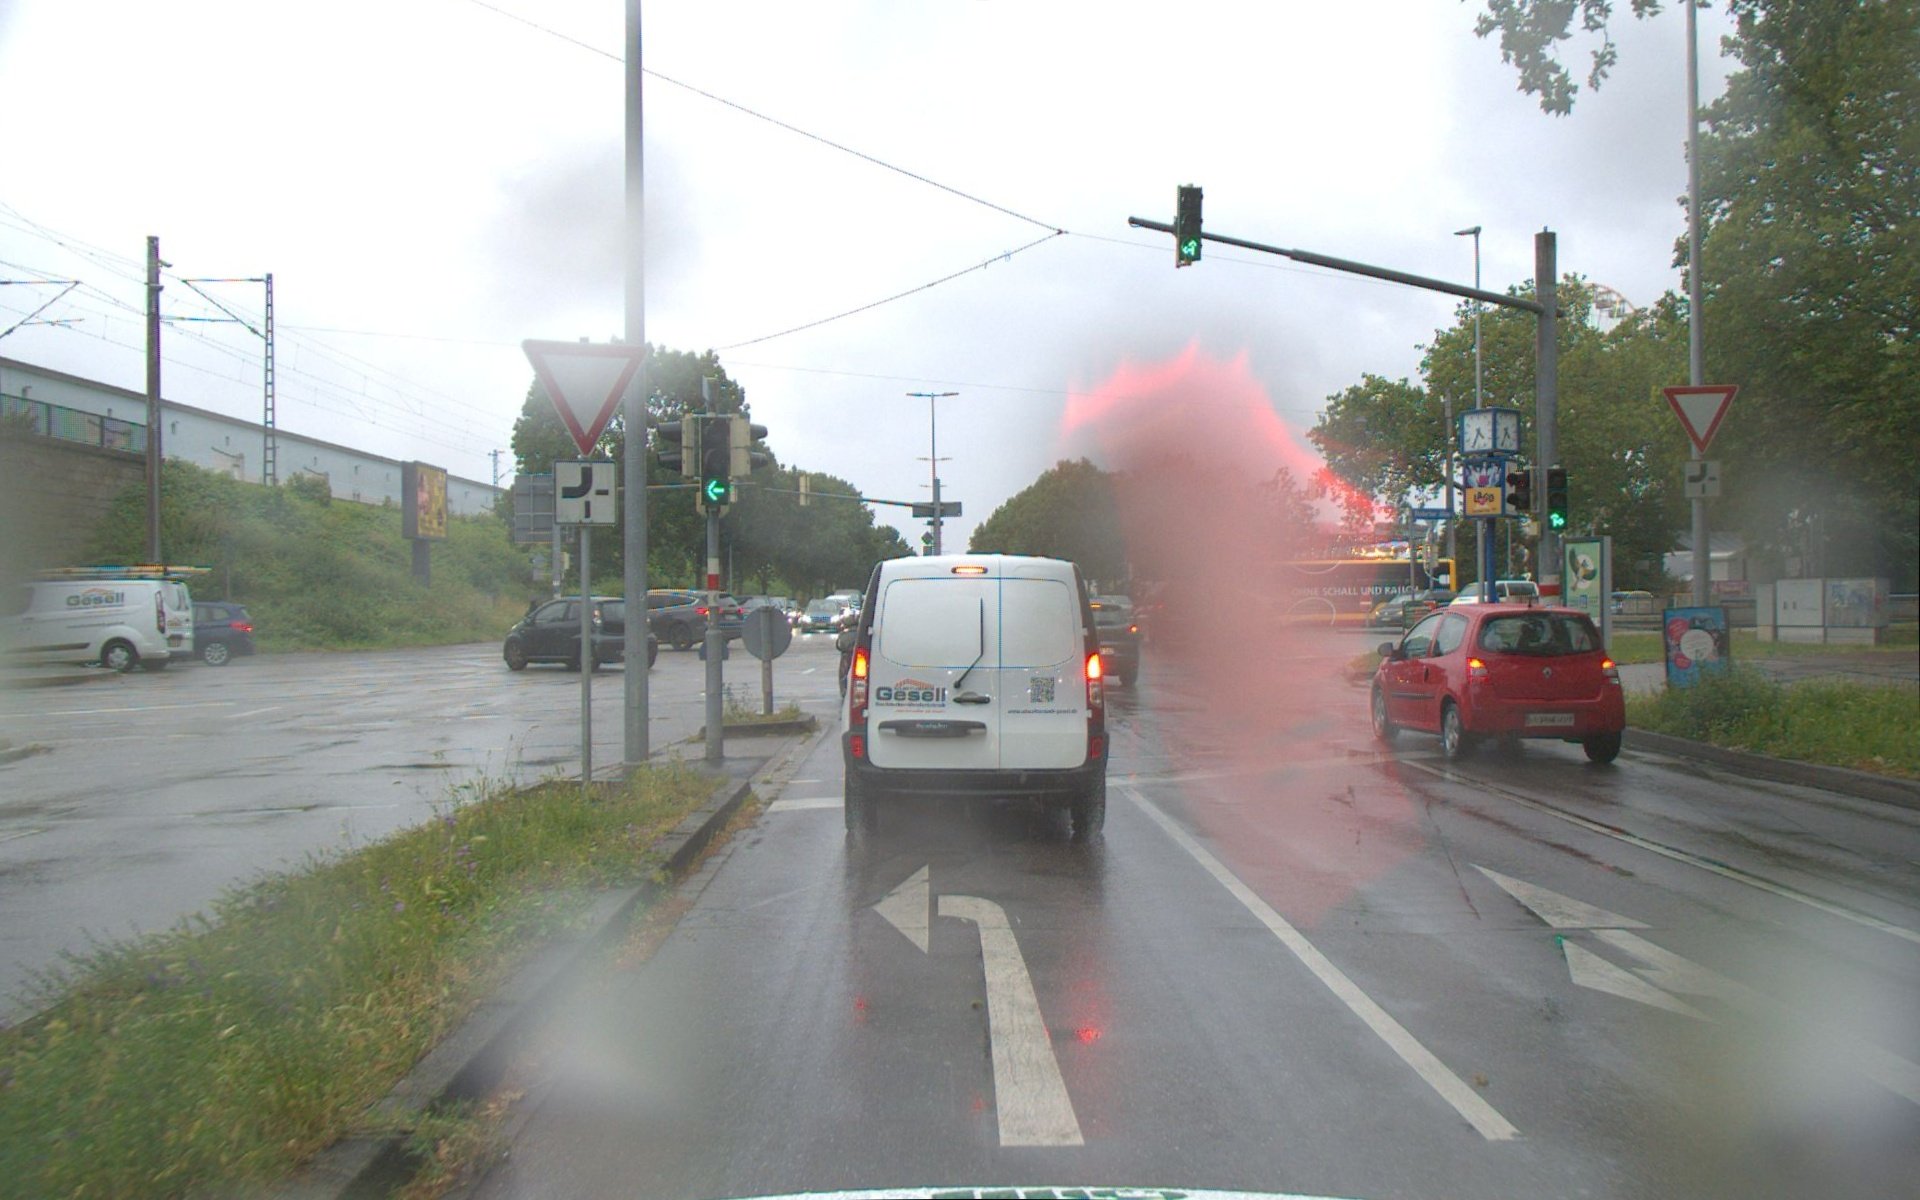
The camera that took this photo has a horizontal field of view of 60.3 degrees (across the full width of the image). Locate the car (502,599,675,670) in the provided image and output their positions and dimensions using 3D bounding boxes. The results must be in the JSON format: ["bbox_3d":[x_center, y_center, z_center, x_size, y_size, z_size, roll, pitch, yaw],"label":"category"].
[{"bbox_3d":[-7.489,0.672,33.223,3.390,1.329,1.577,-1,0,37],"label":"car"}]

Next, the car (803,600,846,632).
[{"bbox_3d":[-6.267,0.703,76.013,1.792,1.382,3.994,-1,0,-7],"label":"car"}]

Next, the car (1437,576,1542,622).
[{"bbox_3d":[22.762,-0.071,71.065,4.698,1.881,2.050,-1,0,-38],"label":"car"}]

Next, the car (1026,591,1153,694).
[{"bbox_3d":[2.194,0.693,28.943,1.805,1.646,3.999,1,0,-1],"label":"car"}]

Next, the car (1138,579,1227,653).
[{"bbox_3d":[5.368,0.368,40.199,1.599,1.684,3.484,1,0,-1],"label":"car"}]

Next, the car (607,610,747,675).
[{"bbox_3d":[-7.024,1.033,41.005,3.288,1.499,1.563,-1,0,36],"label":"car"}]

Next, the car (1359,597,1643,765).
[{"bbox_3d":[5.374,0.735,16.885,1.645,1.517,3.620,0,0,-1],"label":"car"}]

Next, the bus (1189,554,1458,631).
[{"bbox_3d":[17.081,-0.349,78.318,12.002,3.325,3.274,-1,0,-2],"label":"bus"}]

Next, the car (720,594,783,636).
[{"bbox_3d":[-8.776,0.620,70.021,1.980,1.686,4.062,-1,0,2],"label":"car"}]

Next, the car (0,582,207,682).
[{"bbox_3d":[-19.157,0.677,35.851,4.712,1.990,1.998,-2,1,-6],"label":"car"}]

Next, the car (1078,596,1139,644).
[{"bbox_3d":[5.337,0.696,59.871,1.805,1.646,4.000,1,0,0],"label":"car"}]

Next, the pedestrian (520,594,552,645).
[{"bbox_3d":[-14.764,0.689,57.604,0.983,1.749,0.818,-1,0,-10],"label":"pedestrian"}]

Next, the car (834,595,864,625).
[{"bbox_3d":[-6.562,0.571,98.093,1.621,1.750,3.999,-1,0,-2],"label":"car"}]

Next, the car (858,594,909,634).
[{"bbox_3d":[-3.557,0.630,77.793,2.125,1.750,4.303,-1,0,1],"label":"car"}]

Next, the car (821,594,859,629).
[{"bbox_3d":[-6.271,0.602,86.907,1.827,1.750,3.998,-1,0,-3],"label":"car"}]

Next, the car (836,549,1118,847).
[{"bbox_3d":[0.061,0.595,12.173,1.720,1.808,3.999,-1,0,-1],"label":"car"}]

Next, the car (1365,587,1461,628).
[{"bbox_3d":[19.784,0.324,72.181,4.298,1.680,1.907,-1,0,-39],"label":"car"}]

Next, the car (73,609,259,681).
[{"bbox_3d":[-19.808,1.090,41.445,3.866,1.647,1.992,-1,0,-16],"label":"car"}]
